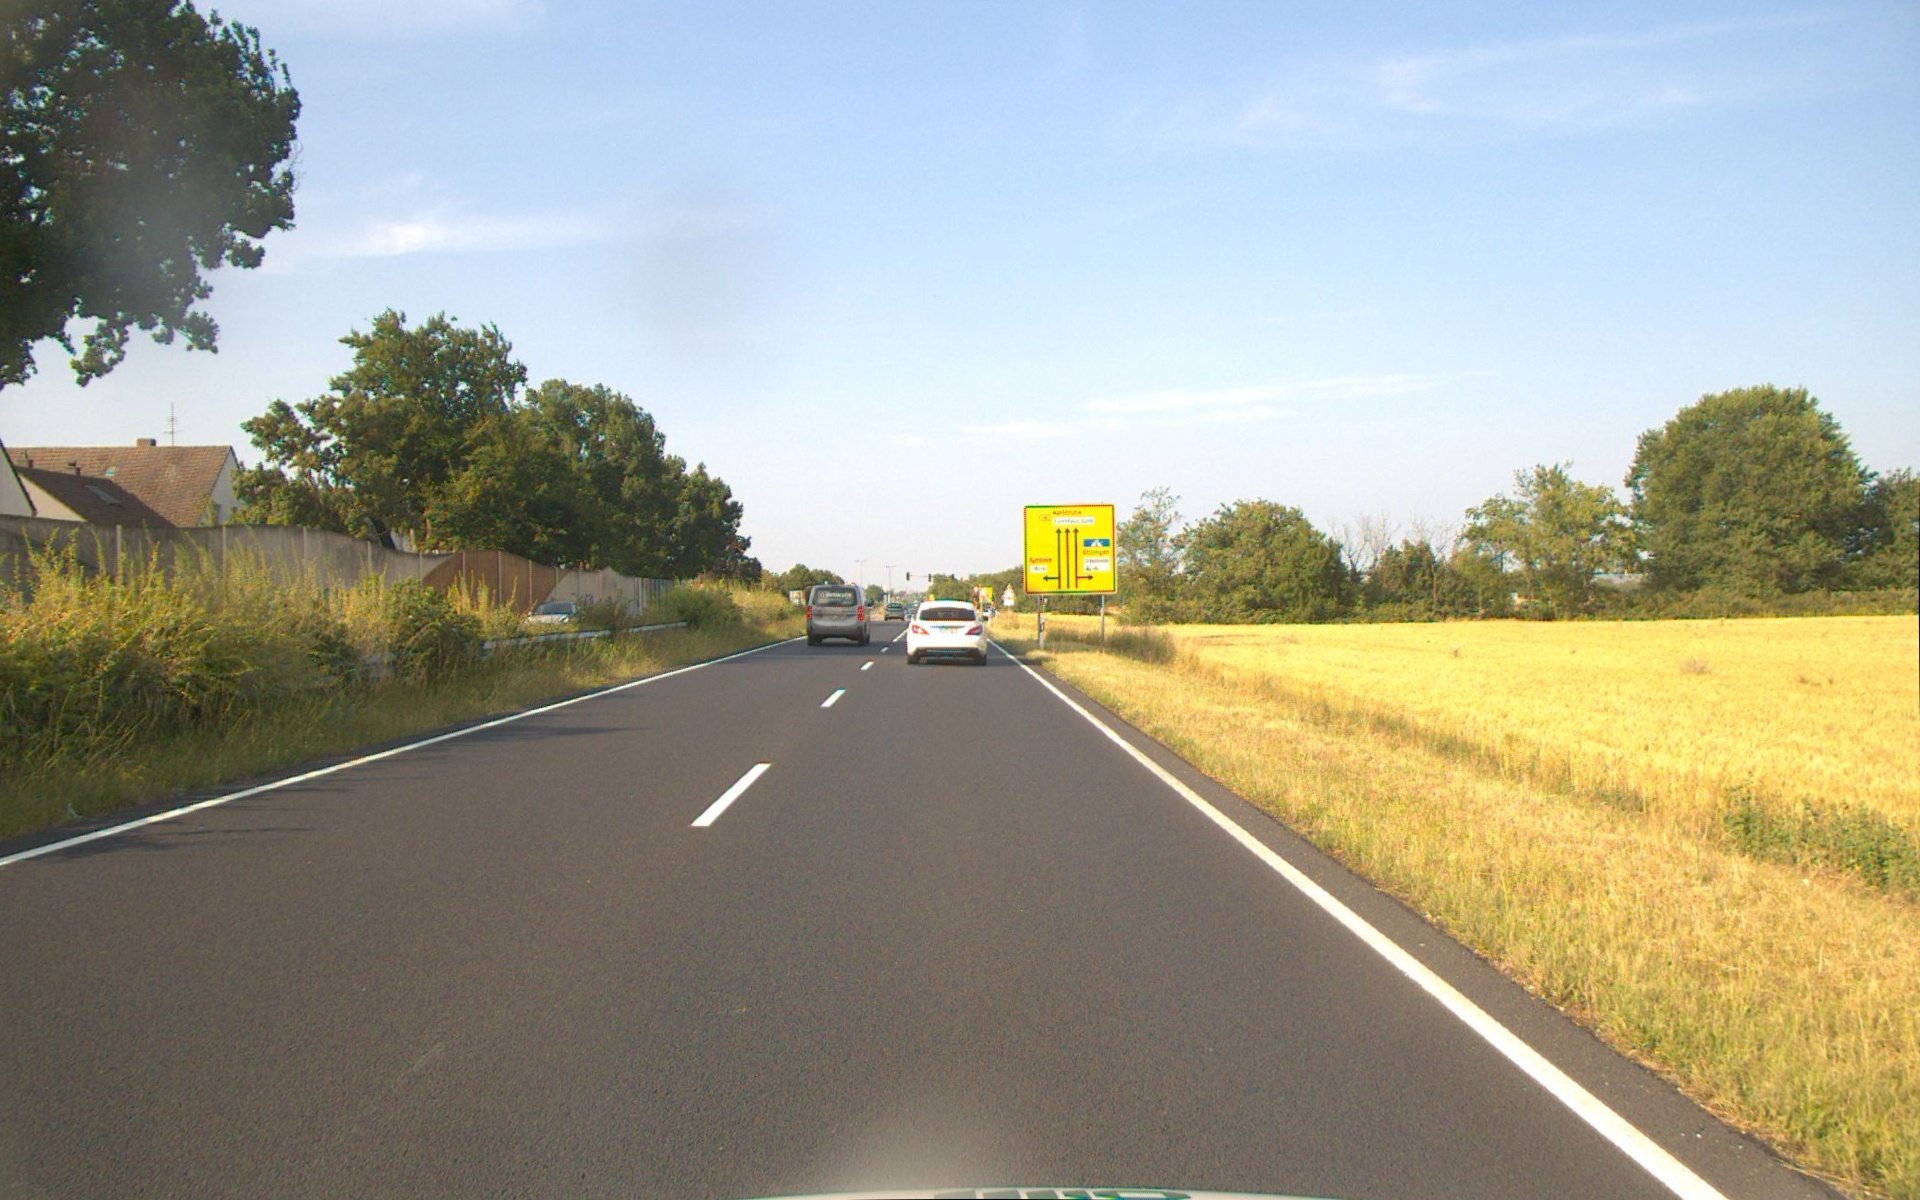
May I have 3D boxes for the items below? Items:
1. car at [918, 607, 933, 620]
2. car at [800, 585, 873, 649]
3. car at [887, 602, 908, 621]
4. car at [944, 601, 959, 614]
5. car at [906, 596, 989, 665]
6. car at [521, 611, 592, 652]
[{"bbox_3d":[-4.751,1.902,227.351,1.801,1.713,4.000,1,0,1],"label":"car"},{"bbox_3d":[-3.937,0.515,53.441,1.984,1.925,4.957,1,0,-1],"label":"car"},{"bbox_3d":[-5.229,0.946,139.164,1.682,1.518,3.583,1,0,-1],"label":"car"},{"bbox_3d":[-0.992,0.932,198.962,1.718,1.543,3.999,-1,0,-1],"label":"car"},{"bbox_3d":[-0.332,0.703,38.998,1.856,1.535,3.999,0,0,-2],"label":"car"},{"bbox_3d":[-14.847,1.134,61.030,1.615,1.384,4.288,2,0,-1],"label":"car"}]
